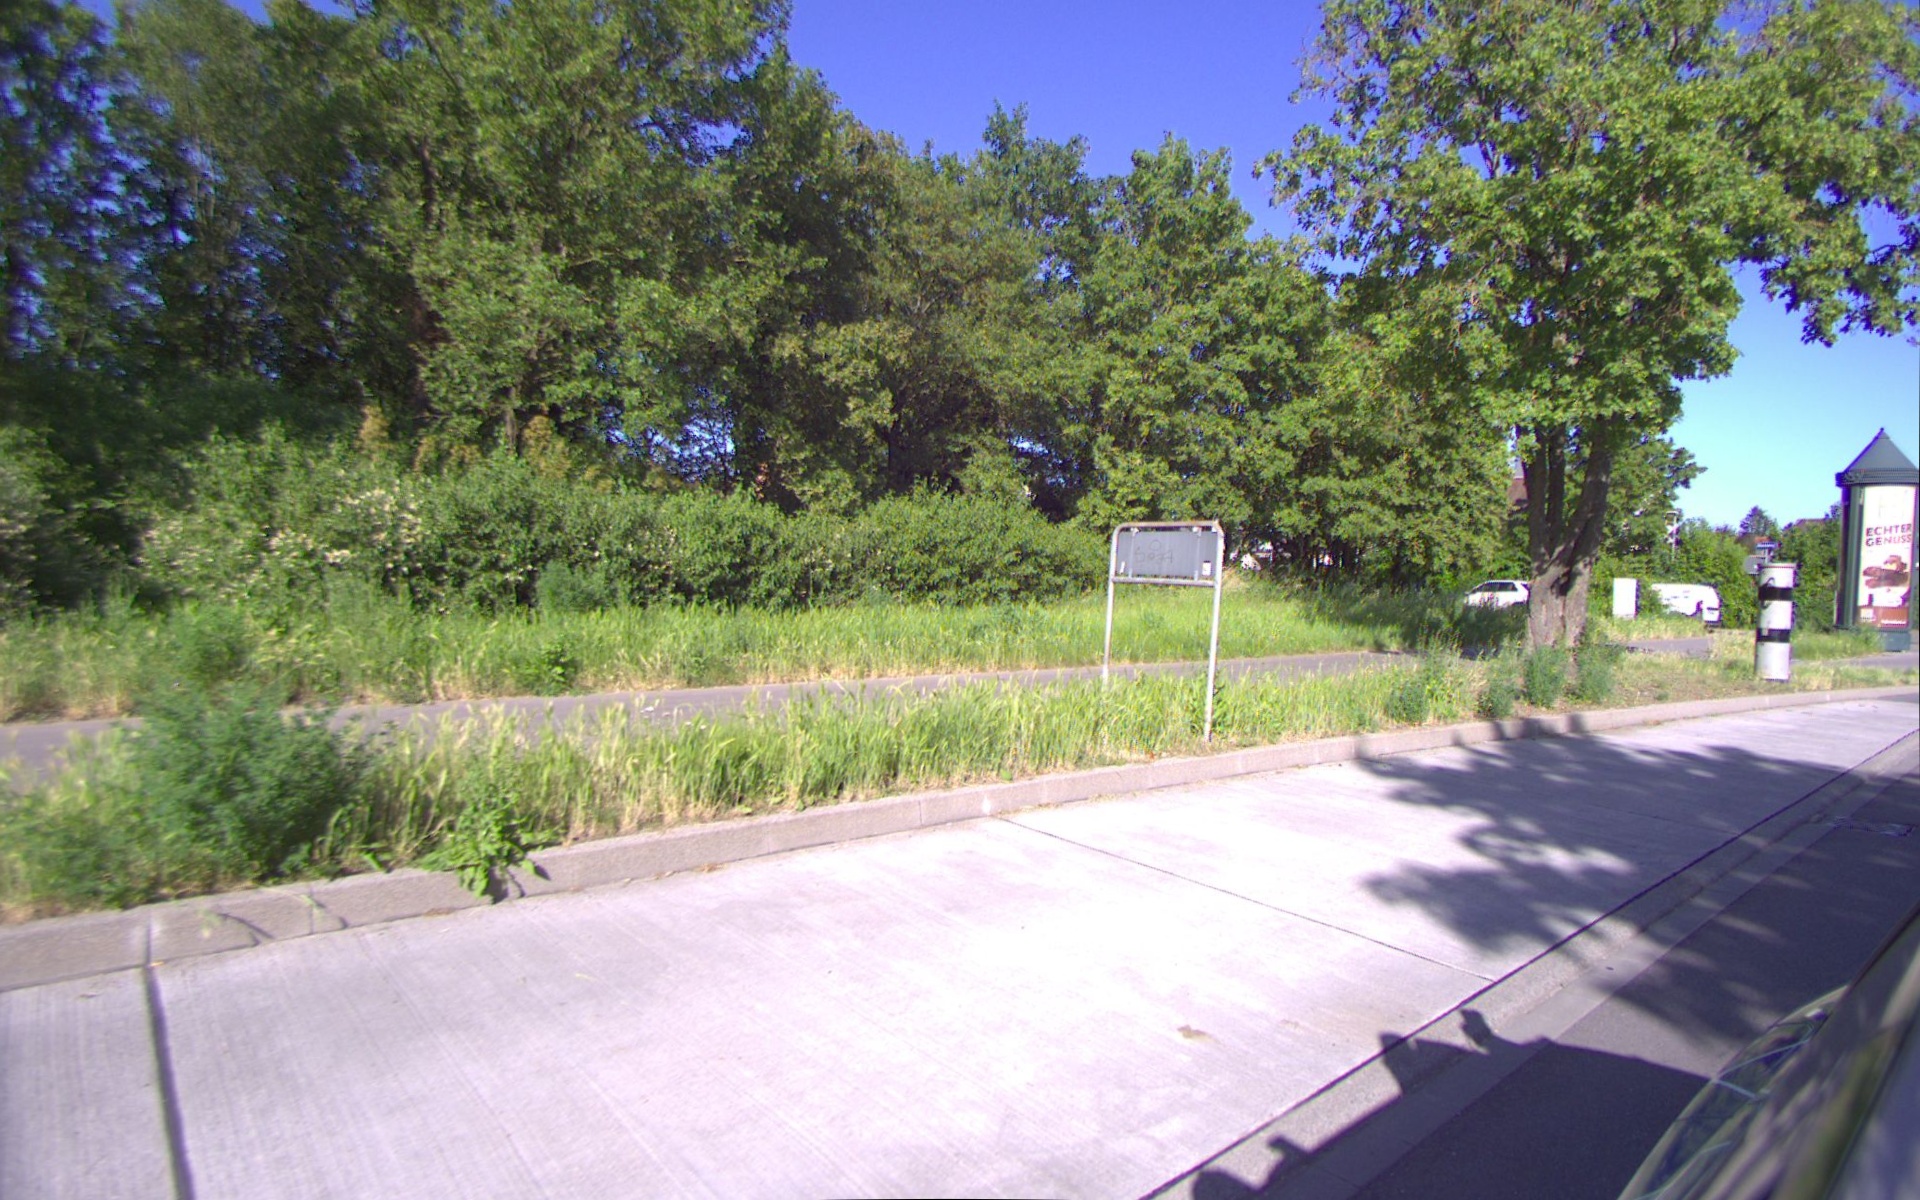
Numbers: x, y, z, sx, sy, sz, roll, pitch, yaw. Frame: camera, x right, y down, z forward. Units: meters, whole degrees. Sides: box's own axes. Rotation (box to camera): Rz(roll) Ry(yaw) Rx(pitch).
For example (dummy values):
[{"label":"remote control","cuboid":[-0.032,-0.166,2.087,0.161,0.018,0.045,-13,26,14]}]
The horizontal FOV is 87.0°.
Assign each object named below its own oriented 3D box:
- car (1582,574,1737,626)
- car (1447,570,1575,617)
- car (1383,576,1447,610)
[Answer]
[{"label":"car","cuboid":[27.728,-0.021,40.261,1.895,1.824,4.649,3,1,-33]},{"label":"car","cuboid":[24.443,-0.318,45.027,2.031,1.892,4.535,3,1,-33]},{"label":"car","cuboid":[22.107,-0.342,49.179,1.510,1.508,2.355,3,1,-33]}]
